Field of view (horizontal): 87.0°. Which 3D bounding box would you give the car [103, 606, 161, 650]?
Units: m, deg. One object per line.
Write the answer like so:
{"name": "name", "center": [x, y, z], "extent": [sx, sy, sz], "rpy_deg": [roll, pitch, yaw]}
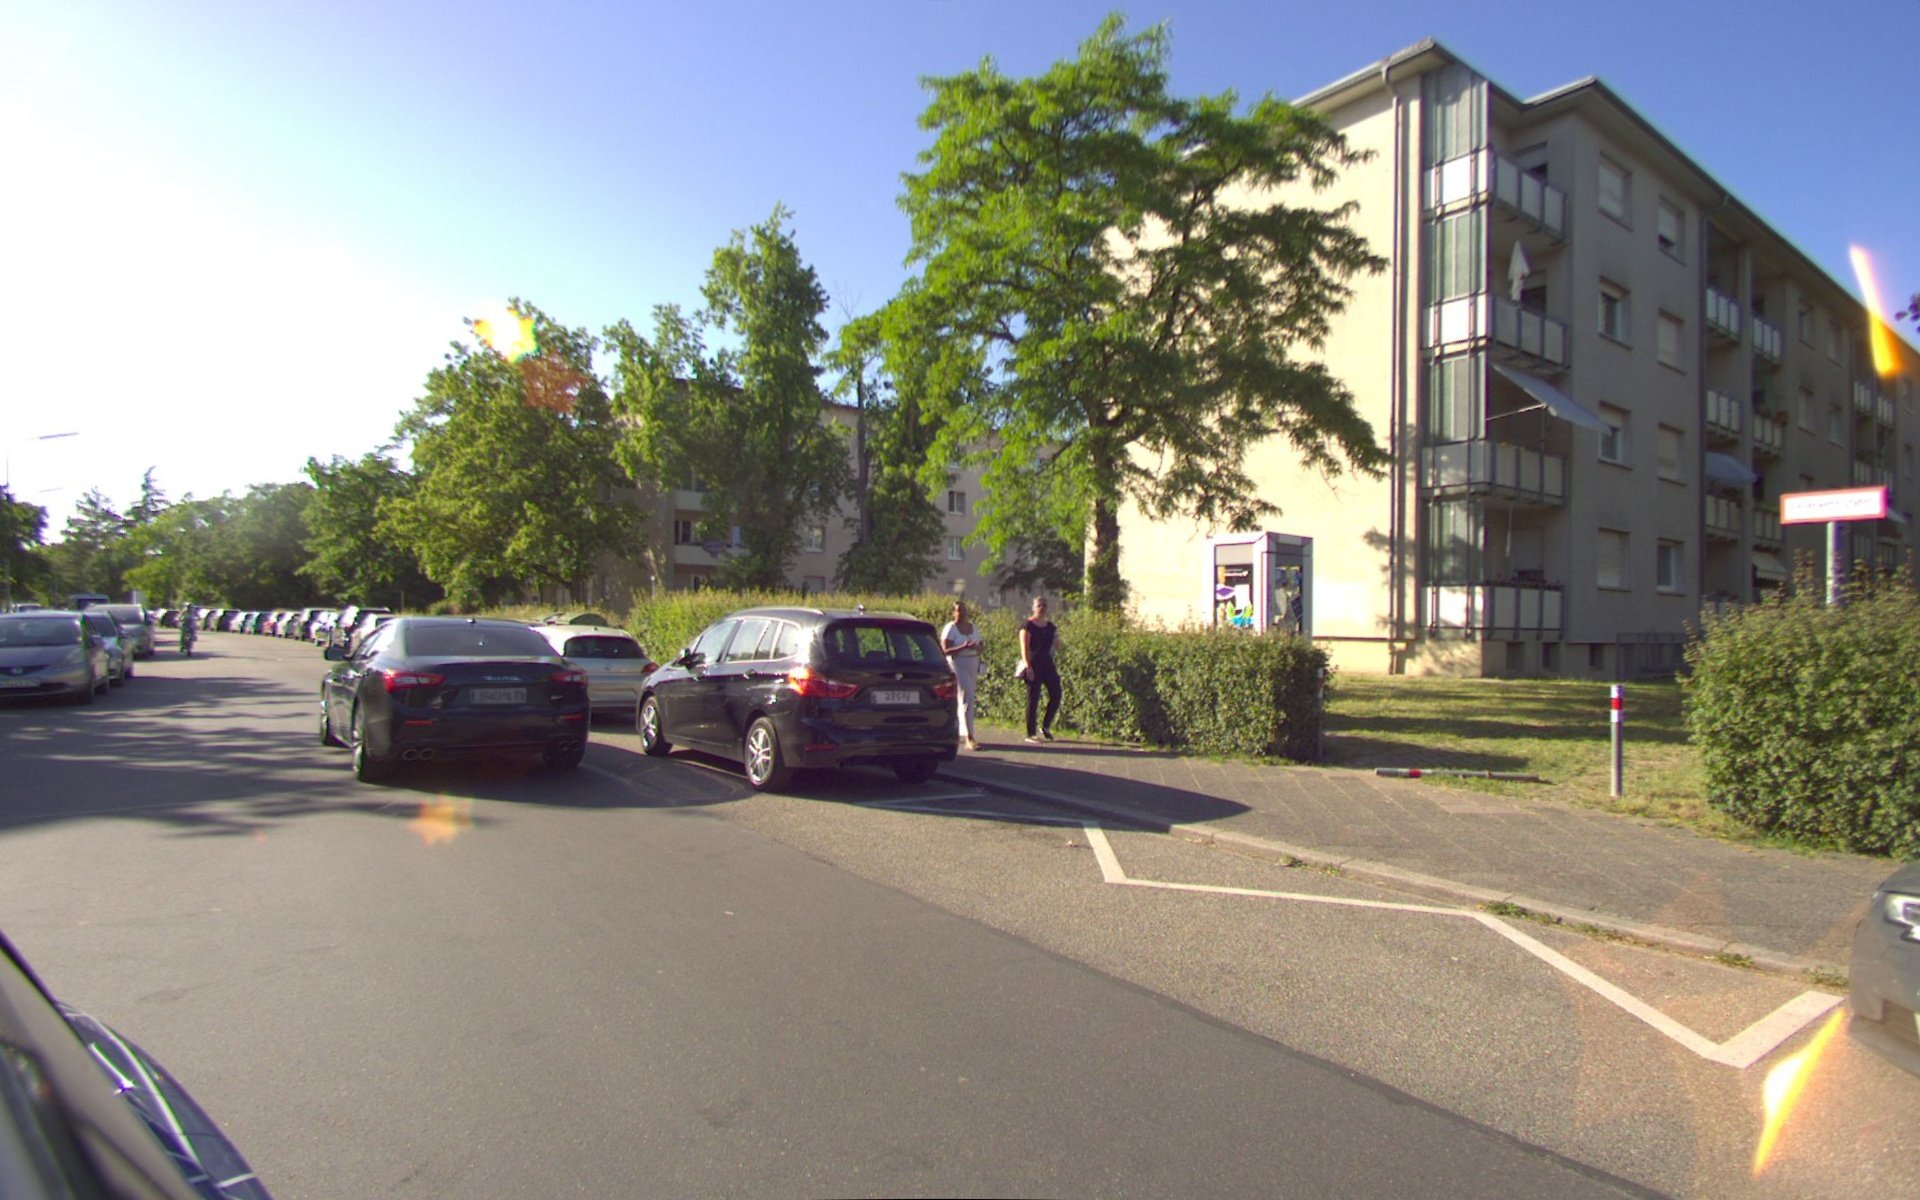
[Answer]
{"name": "car", "center": [-34.146, 1.131, 41.683], "extent": [1.732, 1.686, 4.420], "rpy_deg": [1, -1, -40]}

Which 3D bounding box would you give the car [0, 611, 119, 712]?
{"name": "car", "center": [-15.353, 0.948, 16.859], "extent": [1.780, 1.506, 3.804], "rpy_deg": [1, -1, -36]}

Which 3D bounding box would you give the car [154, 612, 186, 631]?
{"name": "car", "center": [-70.872, 1.939, 90.796], "extent": [3.690, 1.579, 1.636], "rpy_deg": [0, -3, 42]}

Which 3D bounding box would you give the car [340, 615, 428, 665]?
{"name": "car", "center": [-18.387, 1.248, 32.220], "extent": [1.731, 1.396, 4.684], "rpy_deg": [3, -2, -38]}

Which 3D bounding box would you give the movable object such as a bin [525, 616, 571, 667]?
{"name": "movable object such as a bin", "center": [-12.042, 1.192, 29.581], "extent": [0.883, 1.426, 1.329], "rpy_deg": [-2, 1, -39]}

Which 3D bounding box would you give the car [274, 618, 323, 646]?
{"name": "car", "center": [-36.544, 1.755, 55.901], "extent": [1.783, 1.490, 3.947], "rpy_deg": [3, -3, -39]}

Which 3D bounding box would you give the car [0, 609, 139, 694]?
{"name": "car", "center": [-18.304, 0.982, 20.895], "extent": [1.806, 1.558, 4.652], "rpy_deg": [1, -1, -36]}

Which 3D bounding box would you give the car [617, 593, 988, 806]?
{"name": "car", "center": [-1.790, 0.840, 10.103], "extent": [1.731, 1.648, 4.380], "rpy_deg": [4, -3, -37]}

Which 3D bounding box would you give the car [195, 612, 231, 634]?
{"name": "car", "center": [-57.821, 1.797, 78.296], "extent": [1.634, 1.643, 3.692], "rpy_deg": [4, -3, -45]}

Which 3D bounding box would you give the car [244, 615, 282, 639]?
{"name": "car", "center": [-44.809, 1.742, 65.046], "extent": [1.633, 1.490, 3.110], "rpy_deg": [3, -3, -42]}

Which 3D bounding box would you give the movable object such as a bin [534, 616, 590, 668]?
{"name": "movable object such as a bin", "center": [-11.215, 1.169, 28.499], "extent": [1.105, 1.376, 1.259], "rpy_deg": [-2, 1, -39]}

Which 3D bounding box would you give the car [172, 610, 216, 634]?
{"name": "car", "center": [-62.293, 1.779, 82.243], "extent": [5.440, 1.883, 1.859], "rpy_deg": [0, -3, 43]}

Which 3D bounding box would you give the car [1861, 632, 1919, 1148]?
{"name": "car", "center": [4.587, 0.837, 1.751], "extent": [1.731, 1.432, 4.278], "rpy_deg": [4, -3, -37]}

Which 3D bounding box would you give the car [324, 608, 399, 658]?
{"name": "car", "center": [-21.817, 1.184, 36.817], "extent": [1.731, 1.681, 4.399], "rpy_deg": [3, -3, -38]}

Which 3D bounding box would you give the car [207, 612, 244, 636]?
{"name": "car", "center": [-53.593, 1.726, 73.852], "extent": [1.633, 1.643, 4.076], "rpy_deg": [3, -3, -43]}

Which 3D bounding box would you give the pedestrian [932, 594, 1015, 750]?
{"name": "pedestrian", "center": [0.151, 0.788, 11.429], "extent": [0.711, 1.692, 0.617], "rpy_deg": [1, -1, -37]}

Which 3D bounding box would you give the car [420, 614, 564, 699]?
{"name": "car", "center": [-9.605, 1.103, 20.556], "extent": [1.731, 1.501, 4.912], "rpy_deg": [5, -4, -35]}

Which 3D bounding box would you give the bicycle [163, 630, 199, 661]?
{"name": "bicycle", "center": [-24.691, 1.416, 32.107], "extent": [0.811, 0.908, 2.208], "rpy_deg": [1, -1, -36]}

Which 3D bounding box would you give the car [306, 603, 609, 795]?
{"name": "car", "center": [-5.274, 0.823, 10.248], "extent": [1.885, 1.488, 4.580], "rpy_deg": [2, -2, -37]}

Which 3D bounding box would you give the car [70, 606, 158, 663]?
{"name": "car", "center": [-25.868, 1.013, 31.080], "extent": [1.731, 1.639, 4.506], "rpy_deg": [1, -1, -36]}

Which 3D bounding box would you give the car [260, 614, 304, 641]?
{"name": "car", "center": [-40.039, 1.631, 59.722], "extent": [1.611, 1.490, 3.884], "rpy_deg": [3, -3, -42]}

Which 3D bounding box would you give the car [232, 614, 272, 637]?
{"name": "car", "center": [-48.213, 1.714, 68.878], "extent": [1.634, 1.490, 3.738], "rpy_deg": [4, -3, -44]}

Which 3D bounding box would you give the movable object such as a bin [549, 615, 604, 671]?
{"name": "movable object such as a bin", "center": [-10.317, 1.143, 27.239], "extent": [0.989, 1.426, 1.329], "rpy_deg": [-2, 1, -39]}

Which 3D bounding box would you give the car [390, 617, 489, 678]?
{"name": "car", "center": [-13.567, 1.210, 26.298], "extent": [1.627, 1.475, 3.503], "rpy_deg": [3, -3, -38]}

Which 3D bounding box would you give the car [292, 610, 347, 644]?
{"name": "car", "center": [-32.126, 1.336, 50.723], "extent": [1.783, 1.618, 4.440], "rpy_deg": [3, -3, -39]}

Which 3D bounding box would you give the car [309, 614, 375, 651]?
{"name": "car", "center": [-25.143, 1.306, 41.126], "extent": [1.617, 1.396, 4.177], "rpy_deg": [3, -3, -40]}

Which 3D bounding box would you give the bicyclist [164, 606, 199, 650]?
{"name": "bicyclist", "center": [-24.501, 0.876, 31.863], "extent": [0.799, 1.366, 1.093], "rpy_deg": [1, -1, -36]}

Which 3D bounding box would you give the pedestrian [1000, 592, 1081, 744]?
{"name": "pedestrian", "center": [0.934, 0.769, 11.757], "extent": [0.711, 1.692, 0.601], "rpy_deg": [1, -1, -37]}

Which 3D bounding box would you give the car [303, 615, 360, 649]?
{"name": "car", "center": [-28.558, 1.441, 45.920], "extent": [1.731, 1.448, 4.159], "rpy_deg": [3, -3, -38]}

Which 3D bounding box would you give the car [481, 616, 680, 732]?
{"name": "car", "center": [-5.810, 1.017, 15.176], "extent": [1.731, 1.435, 4.221], "rpy_deg": [4, -2, -35]}
